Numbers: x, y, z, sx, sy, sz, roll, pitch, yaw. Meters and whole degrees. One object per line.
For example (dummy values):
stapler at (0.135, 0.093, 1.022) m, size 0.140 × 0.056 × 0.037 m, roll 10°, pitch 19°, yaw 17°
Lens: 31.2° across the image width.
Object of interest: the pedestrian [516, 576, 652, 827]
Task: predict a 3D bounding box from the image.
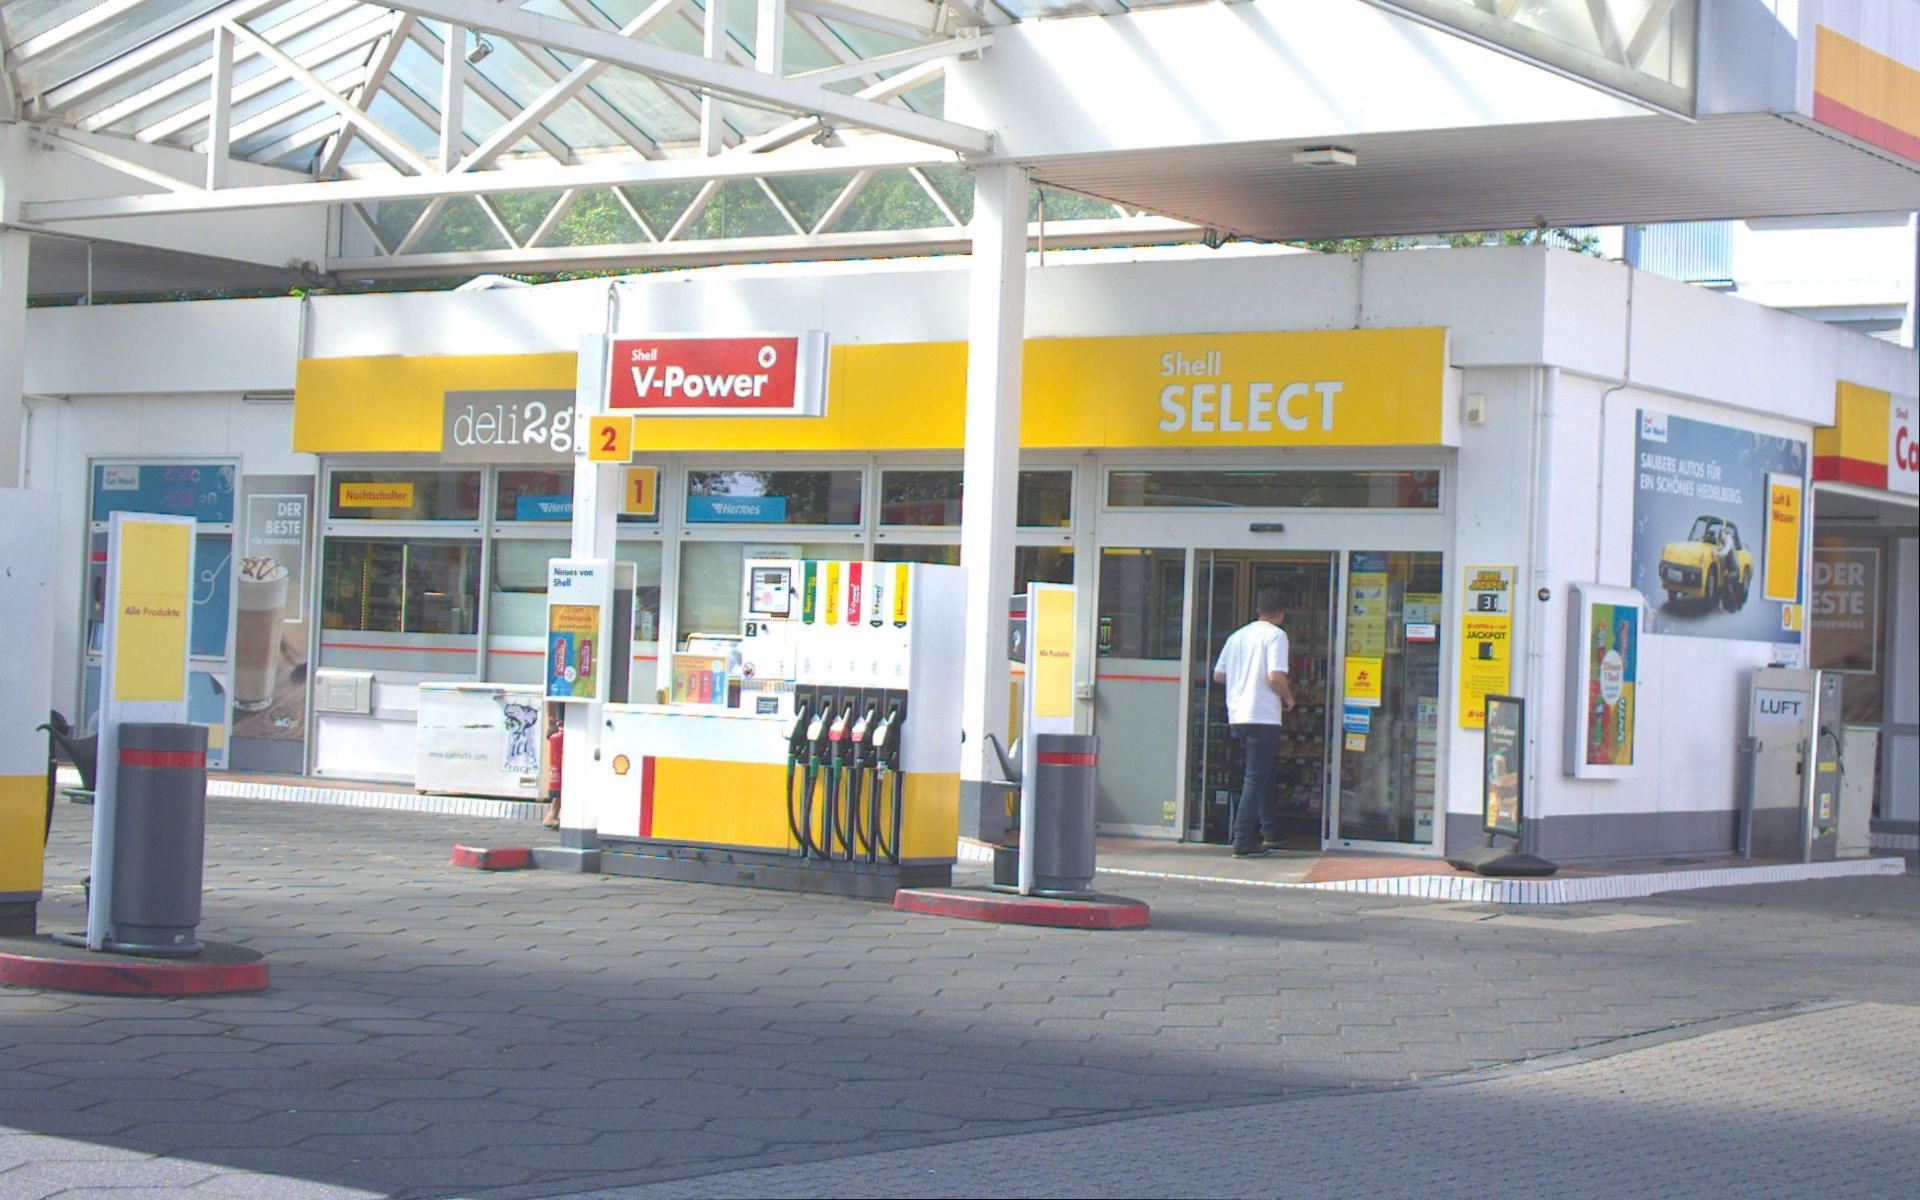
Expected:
pedestrian at (-2.771, 0.748, 25.357) m, size 0.630 × 1.816 × 0.673 m, roll 1°, pitch -2°, yaw 42°

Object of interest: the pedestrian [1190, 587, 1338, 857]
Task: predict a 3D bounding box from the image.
pedestrian at (2.141, 0.852, 24.140) m, size 0.856 × 1.831 × 0.745 m, roll 2°, pitch -1°, yaw 14°
